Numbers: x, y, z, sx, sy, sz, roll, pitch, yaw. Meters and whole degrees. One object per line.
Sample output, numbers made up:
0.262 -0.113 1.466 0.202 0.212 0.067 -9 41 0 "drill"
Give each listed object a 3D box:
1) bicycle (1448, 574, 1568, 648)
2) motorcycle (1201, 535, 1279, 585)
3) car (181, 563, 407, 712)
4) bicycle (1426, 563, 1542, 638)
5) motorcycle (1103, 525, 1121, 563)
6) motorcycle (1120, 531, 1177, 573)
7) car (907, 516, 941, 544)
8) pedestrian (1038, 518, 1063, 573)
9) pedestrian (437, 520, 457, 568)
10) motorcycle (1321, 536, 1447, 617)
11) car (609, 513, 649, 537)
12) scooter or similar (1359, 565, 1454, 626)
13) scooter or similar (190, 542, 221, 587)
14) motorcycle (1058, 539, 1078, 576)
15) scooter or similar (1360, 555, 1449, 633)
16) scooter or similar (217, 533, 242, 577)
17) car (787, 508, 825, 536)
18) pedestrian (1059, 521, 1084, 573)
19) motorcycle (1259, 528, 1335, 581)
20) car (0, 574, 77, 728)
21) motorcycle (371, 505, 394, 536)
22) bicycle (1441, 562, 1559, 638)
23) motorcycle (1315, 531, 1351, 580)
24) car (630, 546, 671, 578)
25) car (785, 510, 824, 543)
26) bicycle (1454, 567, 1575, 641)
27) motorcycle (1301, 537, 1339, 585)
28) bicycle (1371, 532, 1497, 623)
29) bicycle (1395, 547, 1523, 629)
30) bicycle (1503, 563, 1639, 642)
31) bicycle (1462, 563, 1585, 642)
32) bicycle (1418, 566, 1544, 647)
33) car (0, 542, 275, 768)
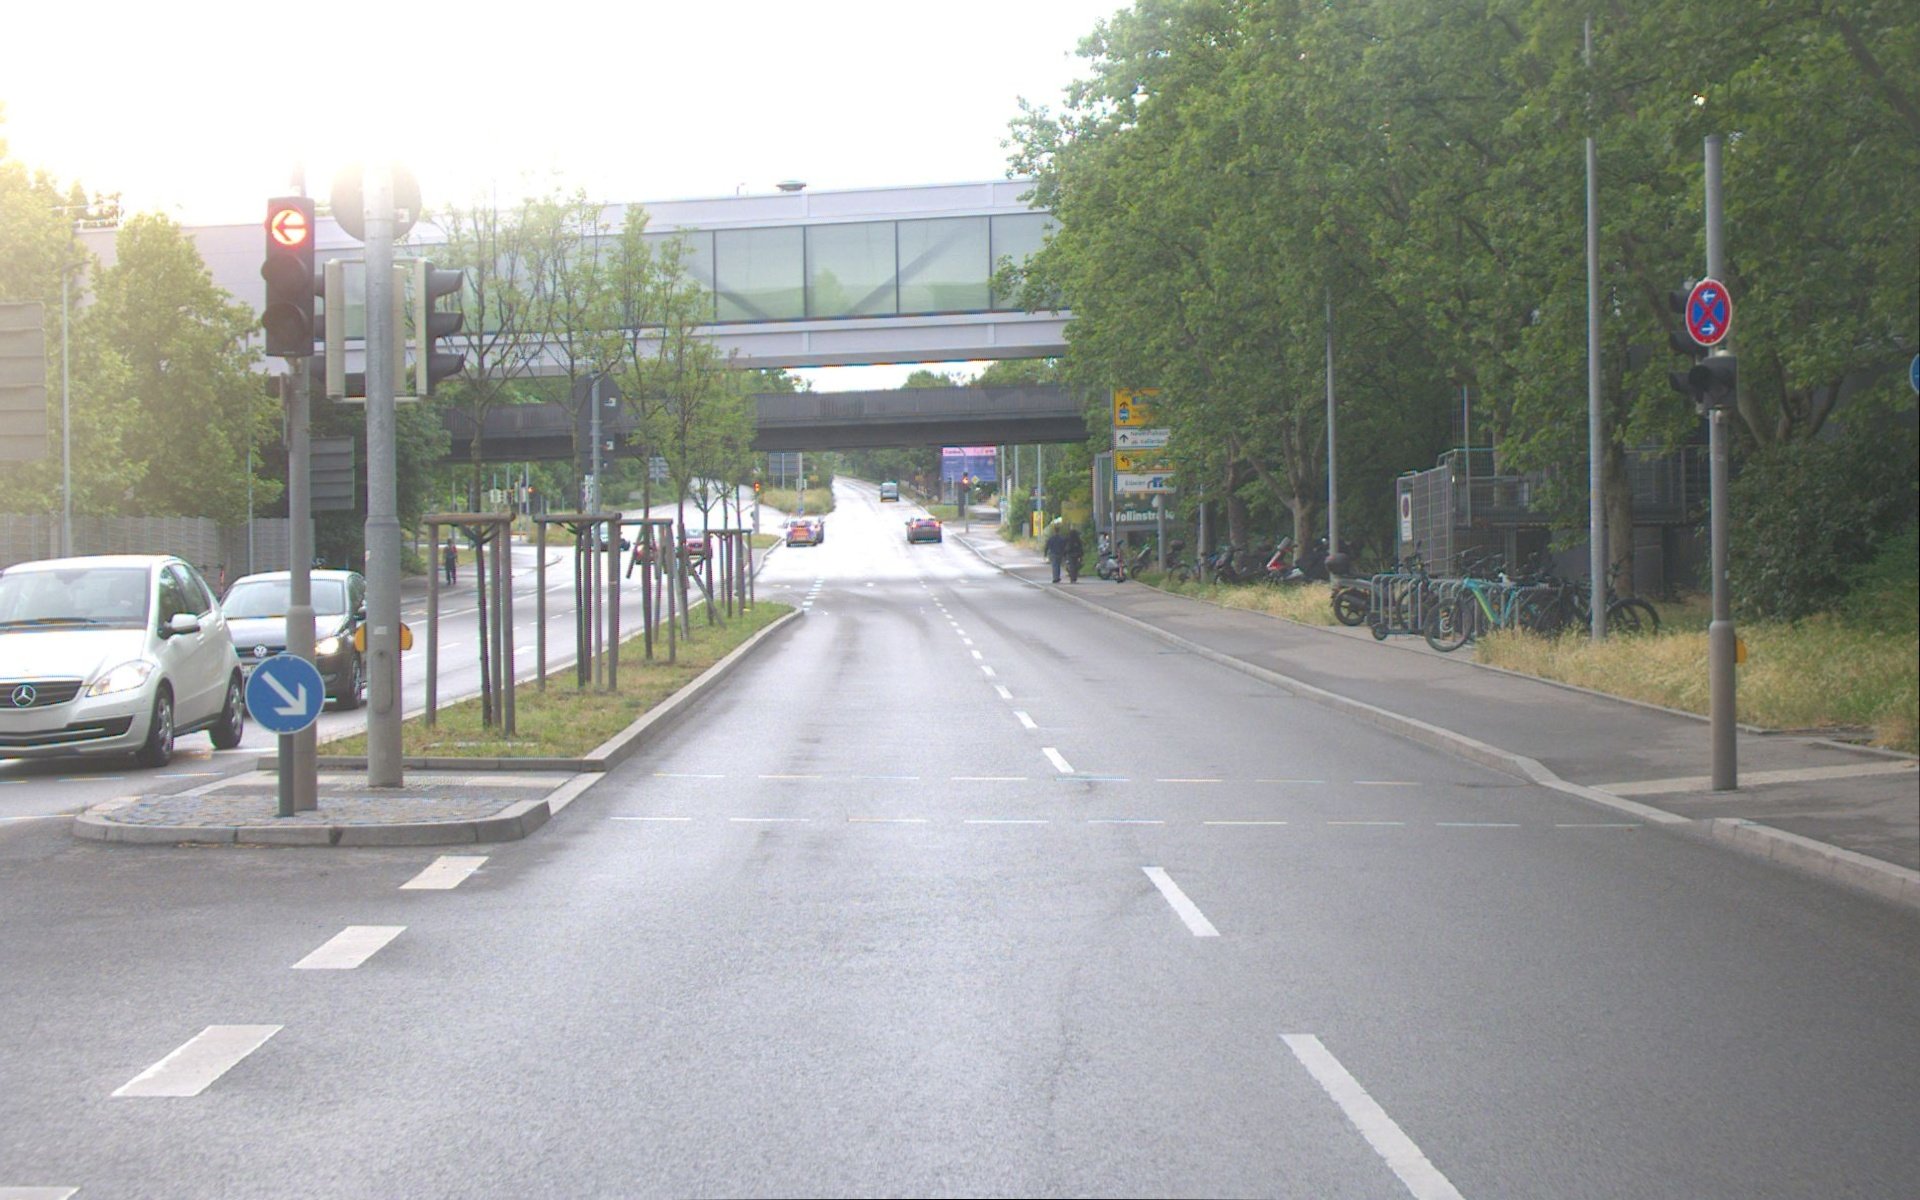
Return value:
7.528 0.152 47.223 1.551 0.955 0.393 -2 1 -1 "bicycle"
7.008 -1.006 85.999 1.848 1.187 0.522 -2 1 -17 "motorcycle"
-6.861 0.343 35.770 1.577 1.399 4.112 -2 1 -1 "car"
7.417 0.008 48.704 1.551 1.001 0.393 -2 1 -1 "bicycle"
4.885 -1.798 110.652 0.469 1.209 1.944 -1 1 5 "motorcycle"
6.005 -1.516 109.510 0.546 1.293 1.943 -2 1 -42 "motorcycle"
-2.015 -3.913 191.942 1.744 1.465 4.167 0 2 -2 "car"
2.827 -1.706 107.278 0.611 1.715 0.891 -1 1 9 "pedestrian"
-19.555 -2.133 131.099 0.520 1.809 0.799 0 2 8 "pedestrian"
6.977 -0.389 56.553 2.009 1.268 0.441 -2 1 11 "motorcycle"
-18.942 -4.307 197.032 2.063 1.357 4.758 -2 2 -3 "car"
7.163 -0.074 55.111 1.472 0.933 0.367 -2 1 -18 "scooter or similar"
-20.654 -0.981 94.139 0.311 1.214 1.307 -1 1 10 "scooter or similar"
3.371 -1.350 107.659 0.469 1.132 1.819 -2 1 -2 "motorcycle"
6.434 -0.086 49.802 1.212 1.087 0.312 -2 1 -5 "scooter or similar"
-20.658 -1.272 97.224 0.311 1.214 1.308 -1 1 3 "scooter or similar"
-9.075 -4.599 202.855 2.166 1.577 4.664 1 1 -1 "car"
3.481 -1.664 107.204 0.651 1.590 0.578 -1 1 10 "pedestrian"
7.462 -1.002 76.101 1.653 1.146 0.493 1 0 7 "motorcycle"
-9.768 0.502 32.354 1.773 1.399 4.615 -2 1 -1 "car"
-21.724 -2.999 129.289 0.468 1.154 1.932 -1 2 2 "motorcycle"
7.520 0.001 47.885 1.551 1.001 0.393 -2 1 -1 "bicycle"
9.874 -1.171 91.057 0.645 1.275 1.991 -1 1 -2 "motorcycle"
-14.915 -1.840 165.919 1.715 1.432 3.772 -3 1 -3 "car"
-8.703 -4.105 192.115 2.076 1.712 4.199 2 0 -4 "car"
7.549 0.048 46.824 1.551 0.955 0.393 -2 1 -1 "bicycle"
10.008 -1.082 95.520 0.348 1.275 2.068 0 2 26 "motorcycle"
7.292 -0.346 52.906 1.857 1.343 0.448 -2 1 -13 "bicycle"
7.418 -0.177 51.124 1.788 1.163 0.448 -2 1 -7 "bicycle"
7.661 0.026 43.099 1.607 0.936 0.387 -2 1 -1 "bicycle"
7.516 0.034 45.902 1.551 1.001 0.393 -2 1 -1 "bicycle"
6.795 0.077 44.885 1.551 1.001 0.393 -2 1 -1 "bicycle"
-6.708 0.383 26.808 1.771 1.584 4.485 -2 1 0 "car"
